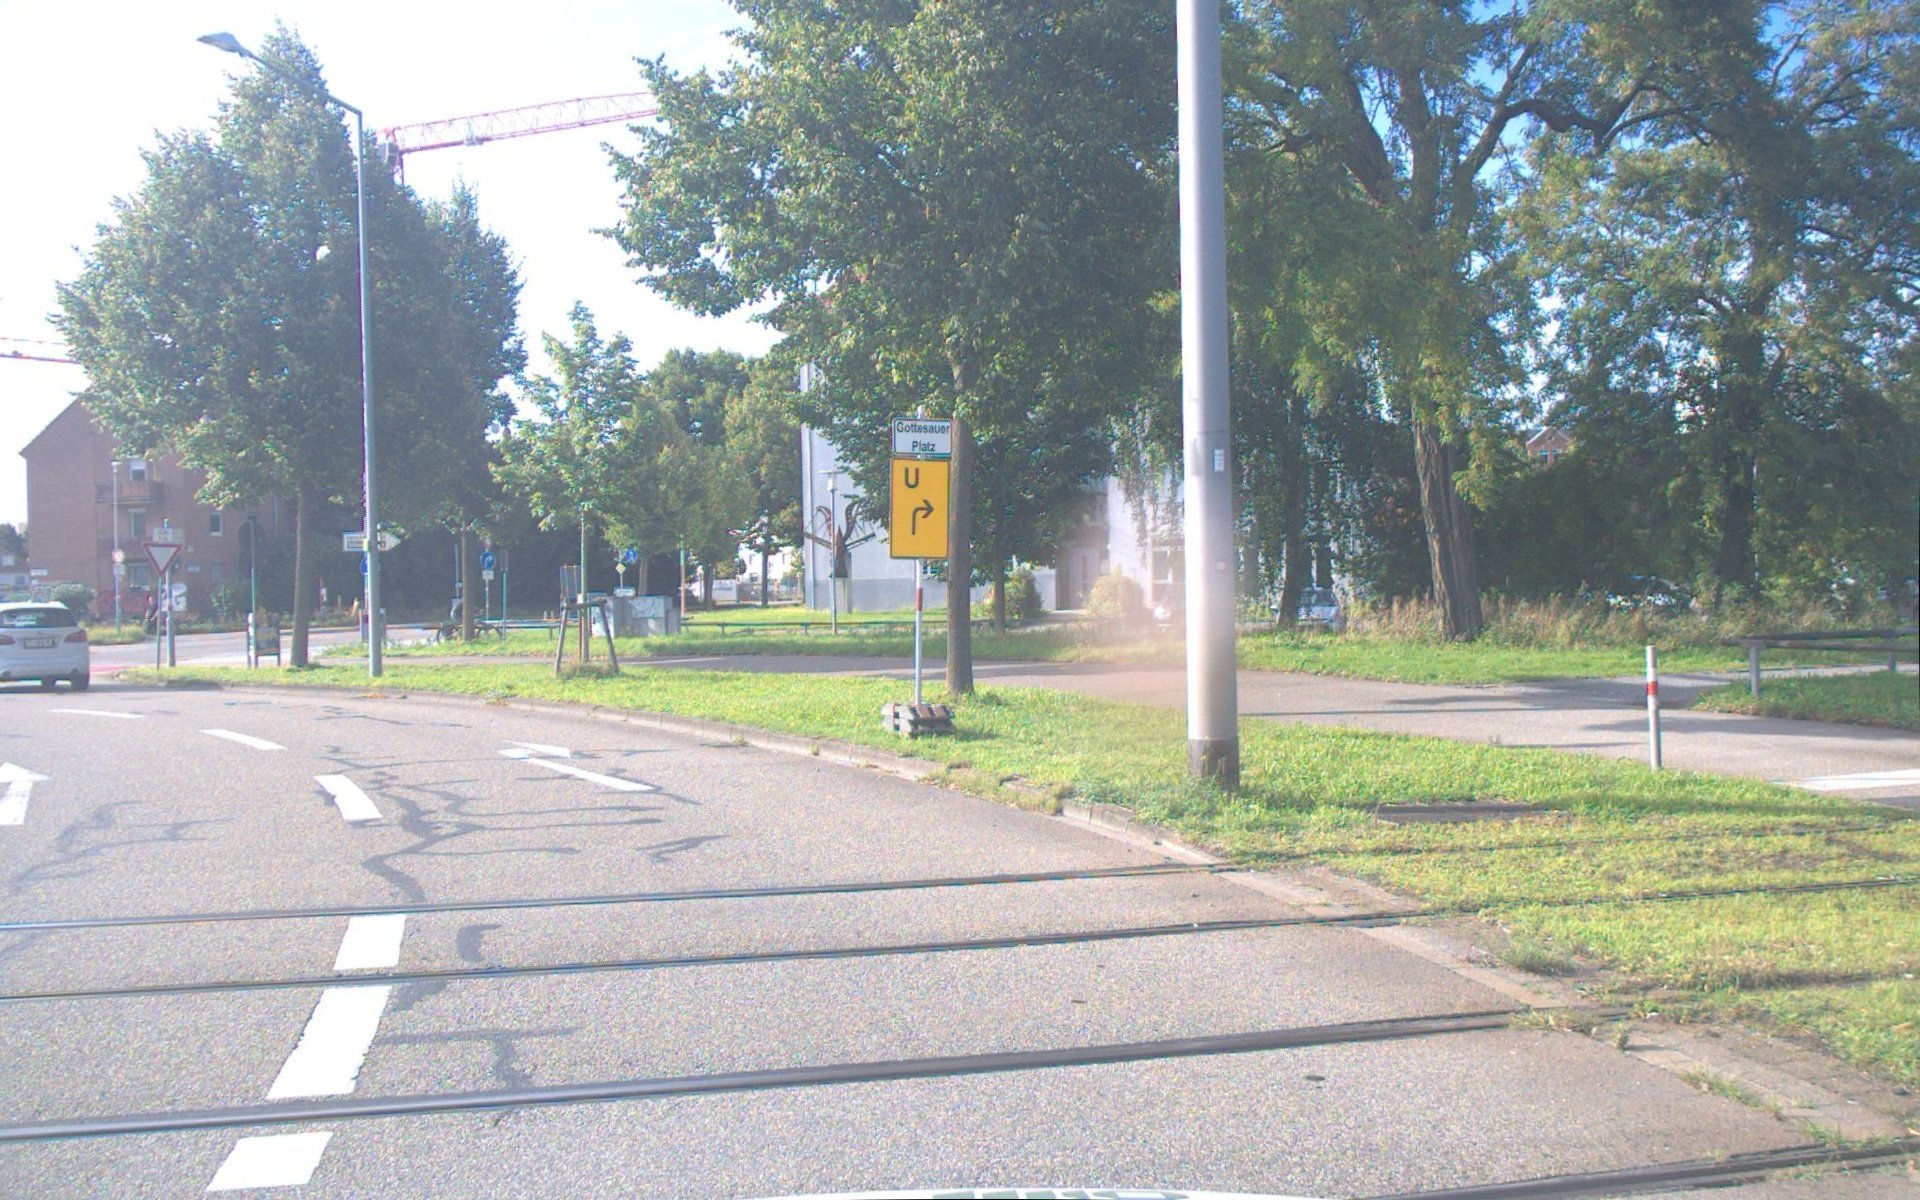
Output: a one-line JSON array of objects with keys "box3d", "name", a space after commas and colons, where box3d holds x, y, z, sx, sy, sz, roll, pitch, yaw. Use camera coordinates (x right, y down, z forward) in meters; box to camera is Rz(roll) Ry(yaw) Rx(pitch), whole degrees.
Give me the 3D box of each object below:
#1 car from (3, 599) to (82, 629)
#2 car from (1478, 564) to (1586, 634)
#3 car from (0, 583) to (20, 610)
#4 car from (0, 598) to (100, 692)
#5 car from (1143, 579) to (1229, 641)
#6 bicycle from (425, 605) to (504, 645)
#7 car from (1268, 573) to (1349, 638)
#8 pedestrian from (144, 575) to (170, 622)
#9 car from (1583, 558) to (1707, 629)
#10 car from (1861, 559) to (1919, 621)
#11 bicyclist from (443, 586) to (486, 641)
[{"box3d": [-55.045, 0.823, 99.255, 3.935, 1.646, 1.760, -2, 0, -24], "name": "car"}, {"box3d": [13.756, -0.062, 39.996, 1.815, 1.542, 4.738, -2, 0, 11], "name": "car"}, {"box3d": [-60.737, -0.187, 102.762, 3.953, 1.646, 1.752, -2, 1, -35], "name": "car"}, {"box3d": [-17.349, 0.779, 30.542, 1.838, 1.600, 4.393, -1, 0, -38], "name": "car"}, {"box3d": [5.735, 0.219, 41.541, 1.815, 1.405, 4.519, -2, 0, 11], "name": "car"}, {"box3d": [-14.681, 0.745, 49.040, 2.097, 1.157, 0.773, -1, 0, 10], "name": "bicycle"}, {"box3d": [8.561, 0.108, 40.791, 1.815, 1.465, 4.738, -2, 0, 11], "name": "car"}, {"box3d": [-32.856, -0.071, 67.659, 0.654, 1.903, 0.834, -2, 0, -7], "name": "pedestrian"}, {"box3d": [16.284, -0.175, 39.552, 1.815, 1.542, 4.738, -2, 0, 11], "name": "car"}, {"box3d": [22.785, -0.270, 38.494, 1.815, 1.383, 4.738, -2, 0, 11], "name": "car"}, {"box3d": [-14.693, 0.408, 49.038, 0.936, 1.602, 0.773, -1, 0, 10], "name": "bicyclist"}]
